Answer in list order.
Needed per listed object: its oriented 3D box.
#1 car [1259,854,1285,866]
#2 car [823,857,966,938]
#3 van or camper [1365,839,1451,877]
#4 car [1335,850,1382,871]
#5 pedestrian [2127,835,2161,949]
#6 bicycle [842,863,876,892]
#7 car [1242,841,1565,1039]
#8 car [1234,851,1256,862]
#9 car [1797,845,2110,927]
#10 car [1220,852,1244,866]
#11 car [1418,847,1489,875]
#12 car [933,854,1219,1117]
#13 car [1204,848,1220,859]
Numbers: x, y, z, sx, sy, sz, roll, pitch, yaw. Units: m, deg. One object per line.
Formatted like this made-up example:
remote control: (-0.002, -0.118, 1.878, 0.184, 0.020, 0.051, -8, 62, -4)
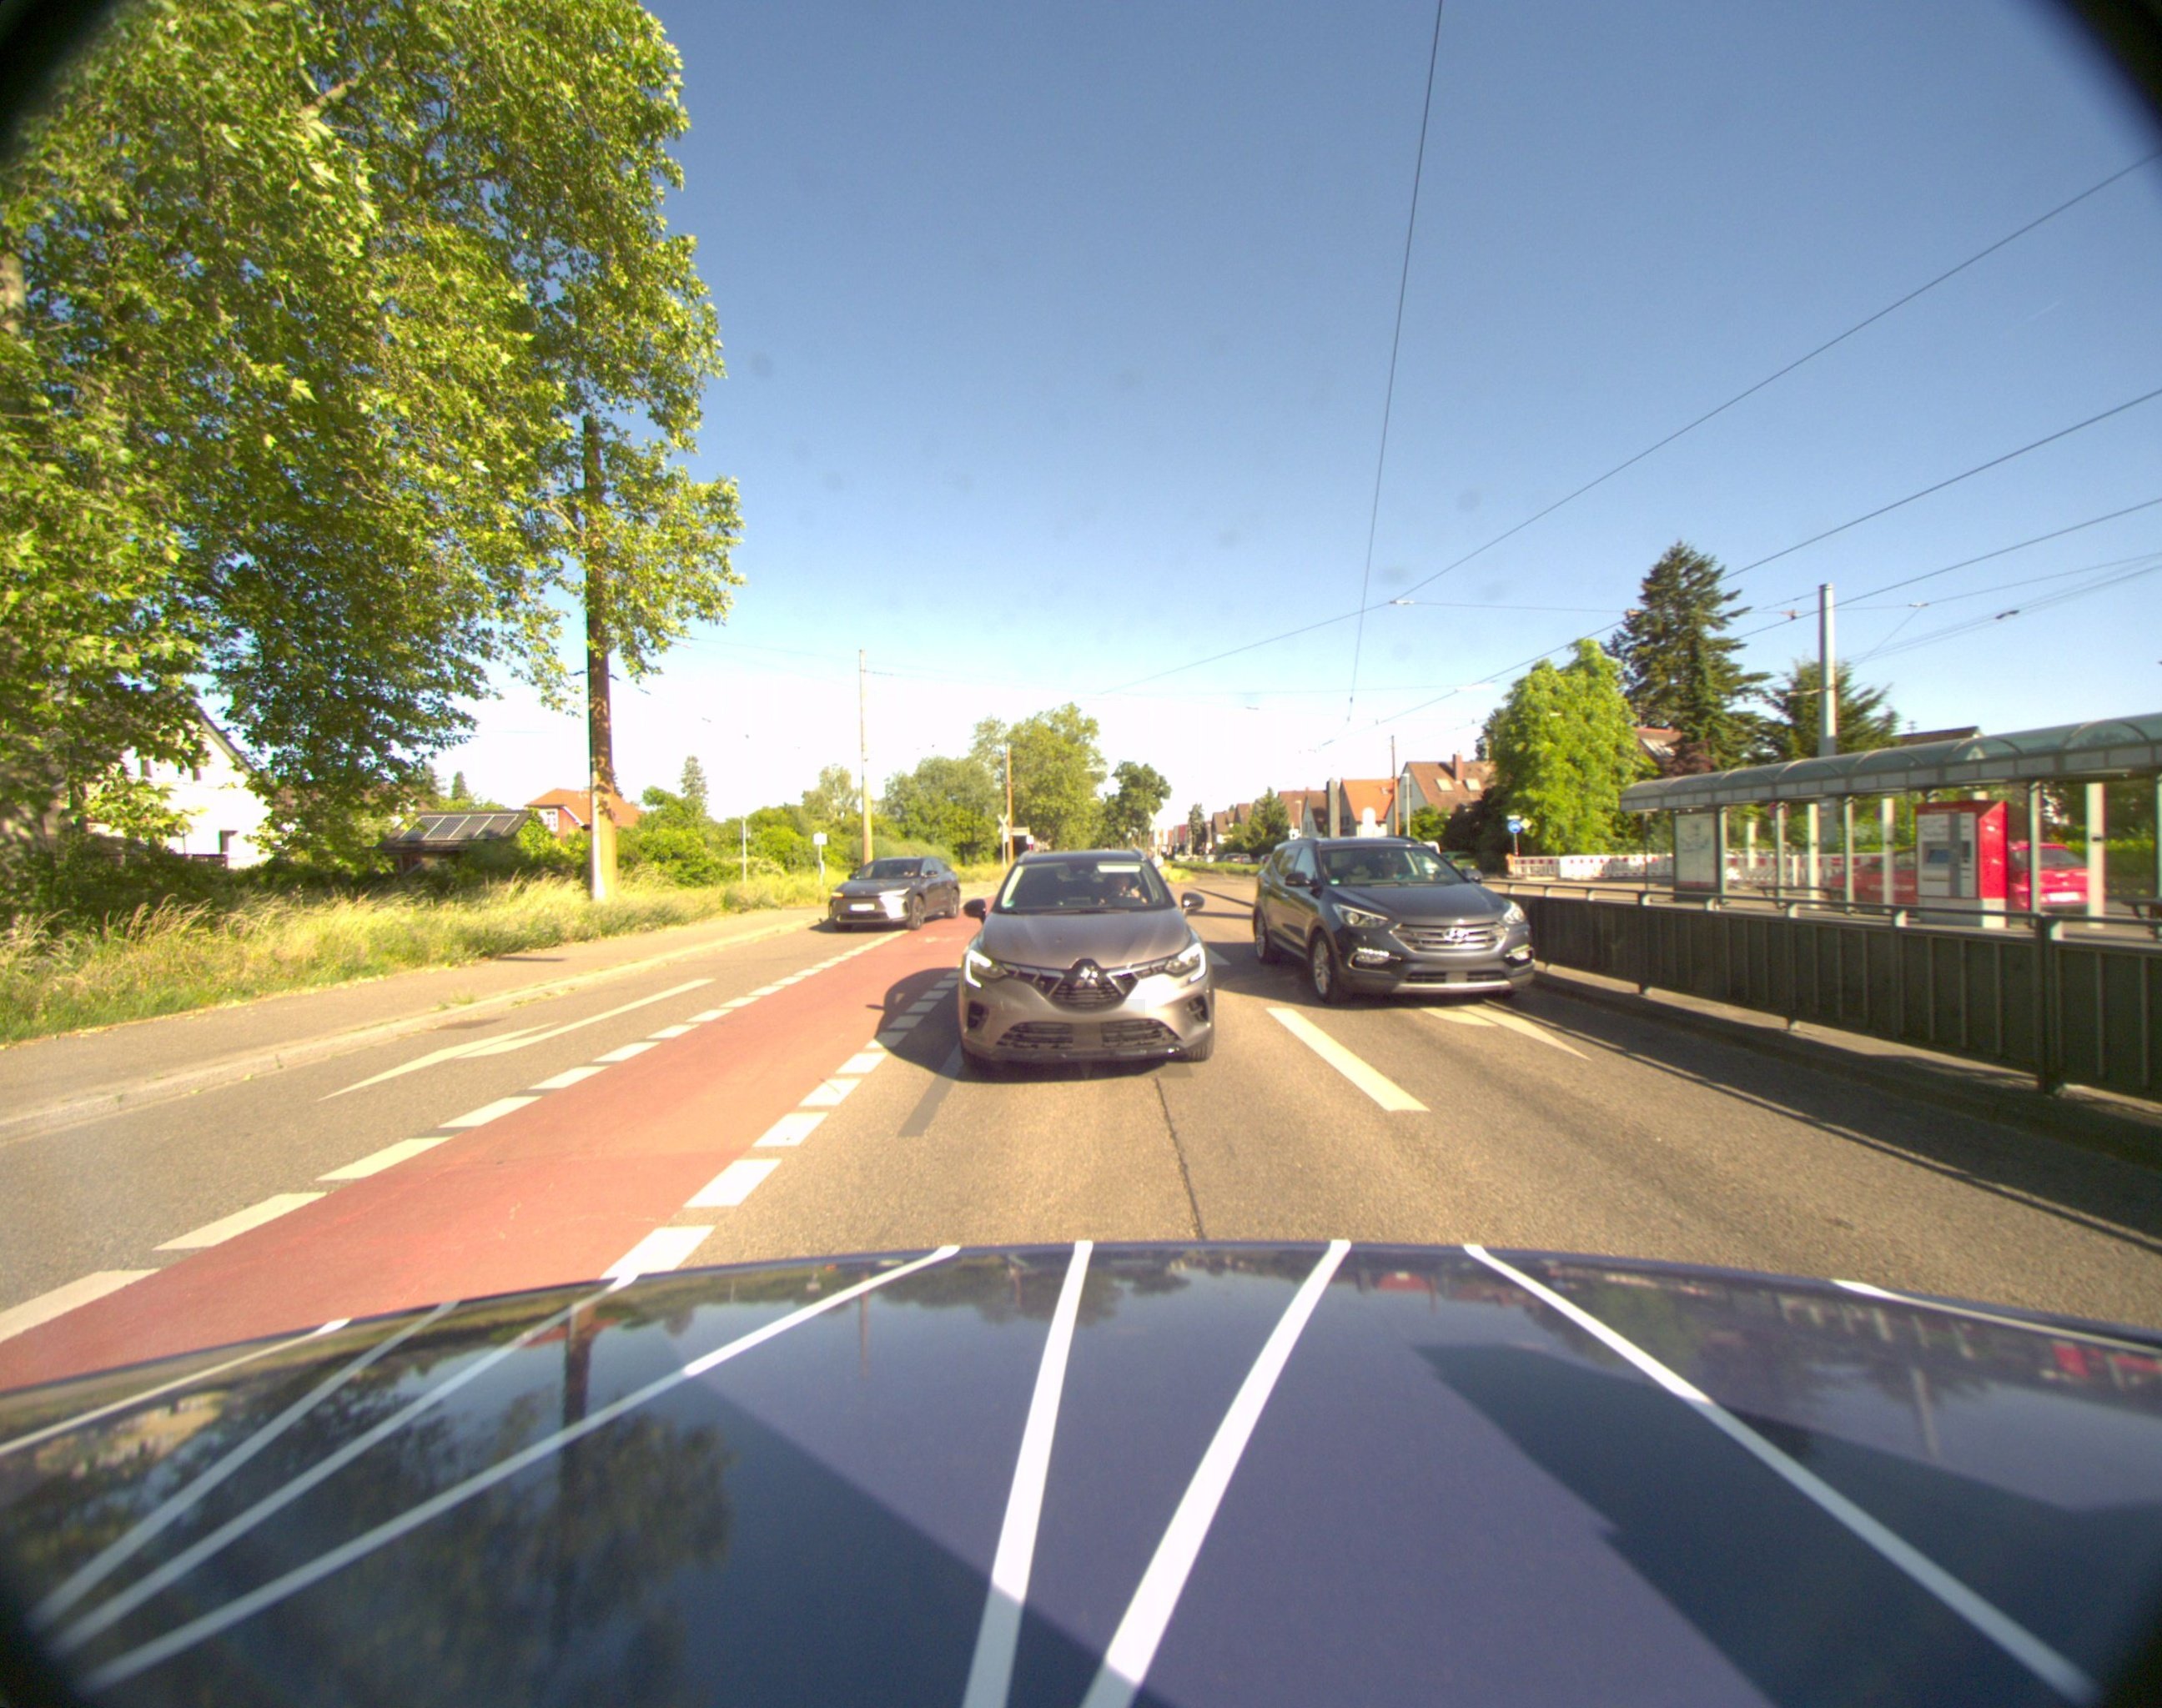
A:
car: (22.124, 0.664, 87.984, 1.998, 1.363, 4.310, -2, 0, 1)
car: (-4.151, 0.903, 17.780, 1.769, 1.621, 4.500, -1, 0, 6)
van or camper: (17.128, 0.187, 40.165, 1.998, 1.817, 5.987, -2, 0, 1)
car: (21.720, 0.449, 59.590, 1.888, 1.464, 4.613, -3, 1, -1)
pedestrian: (14.228, 0.489, 9.423, 1.063, 1.444, 1.007, 1, 1, 0)
bicycle: (-8.937, 0.947, 30.586, 0.367, 1.128, 2.090, -1, 0, -44)
car: (3.134, 0.720, 8.459, 1.780, 1.620, 4.288, -1, 0, 0)
car: (22.054, 0.333, 102.356, 1.888, 1.464, 4.838, -3, 0, 1)
car: (16.818, 0.544, 15.011, 1.608, 1.394, 4.016, -1, 0, 1)
car: (16.816, 0.535, 84.760, 1.740, 1.511, 4.344, -1, 0, 0)
car: (21.877, 0.372, 44.824, 1.999, 1.492, 4.067, -3, 1, -2)
car: (-0.043, 0.785, 6.340, 1.673, 1.529, 3.586, -2, 0, -1)
car: (22.062, -0.104, 127.958, 1.998, 1.852, 4.584, -2, 0, 1)
